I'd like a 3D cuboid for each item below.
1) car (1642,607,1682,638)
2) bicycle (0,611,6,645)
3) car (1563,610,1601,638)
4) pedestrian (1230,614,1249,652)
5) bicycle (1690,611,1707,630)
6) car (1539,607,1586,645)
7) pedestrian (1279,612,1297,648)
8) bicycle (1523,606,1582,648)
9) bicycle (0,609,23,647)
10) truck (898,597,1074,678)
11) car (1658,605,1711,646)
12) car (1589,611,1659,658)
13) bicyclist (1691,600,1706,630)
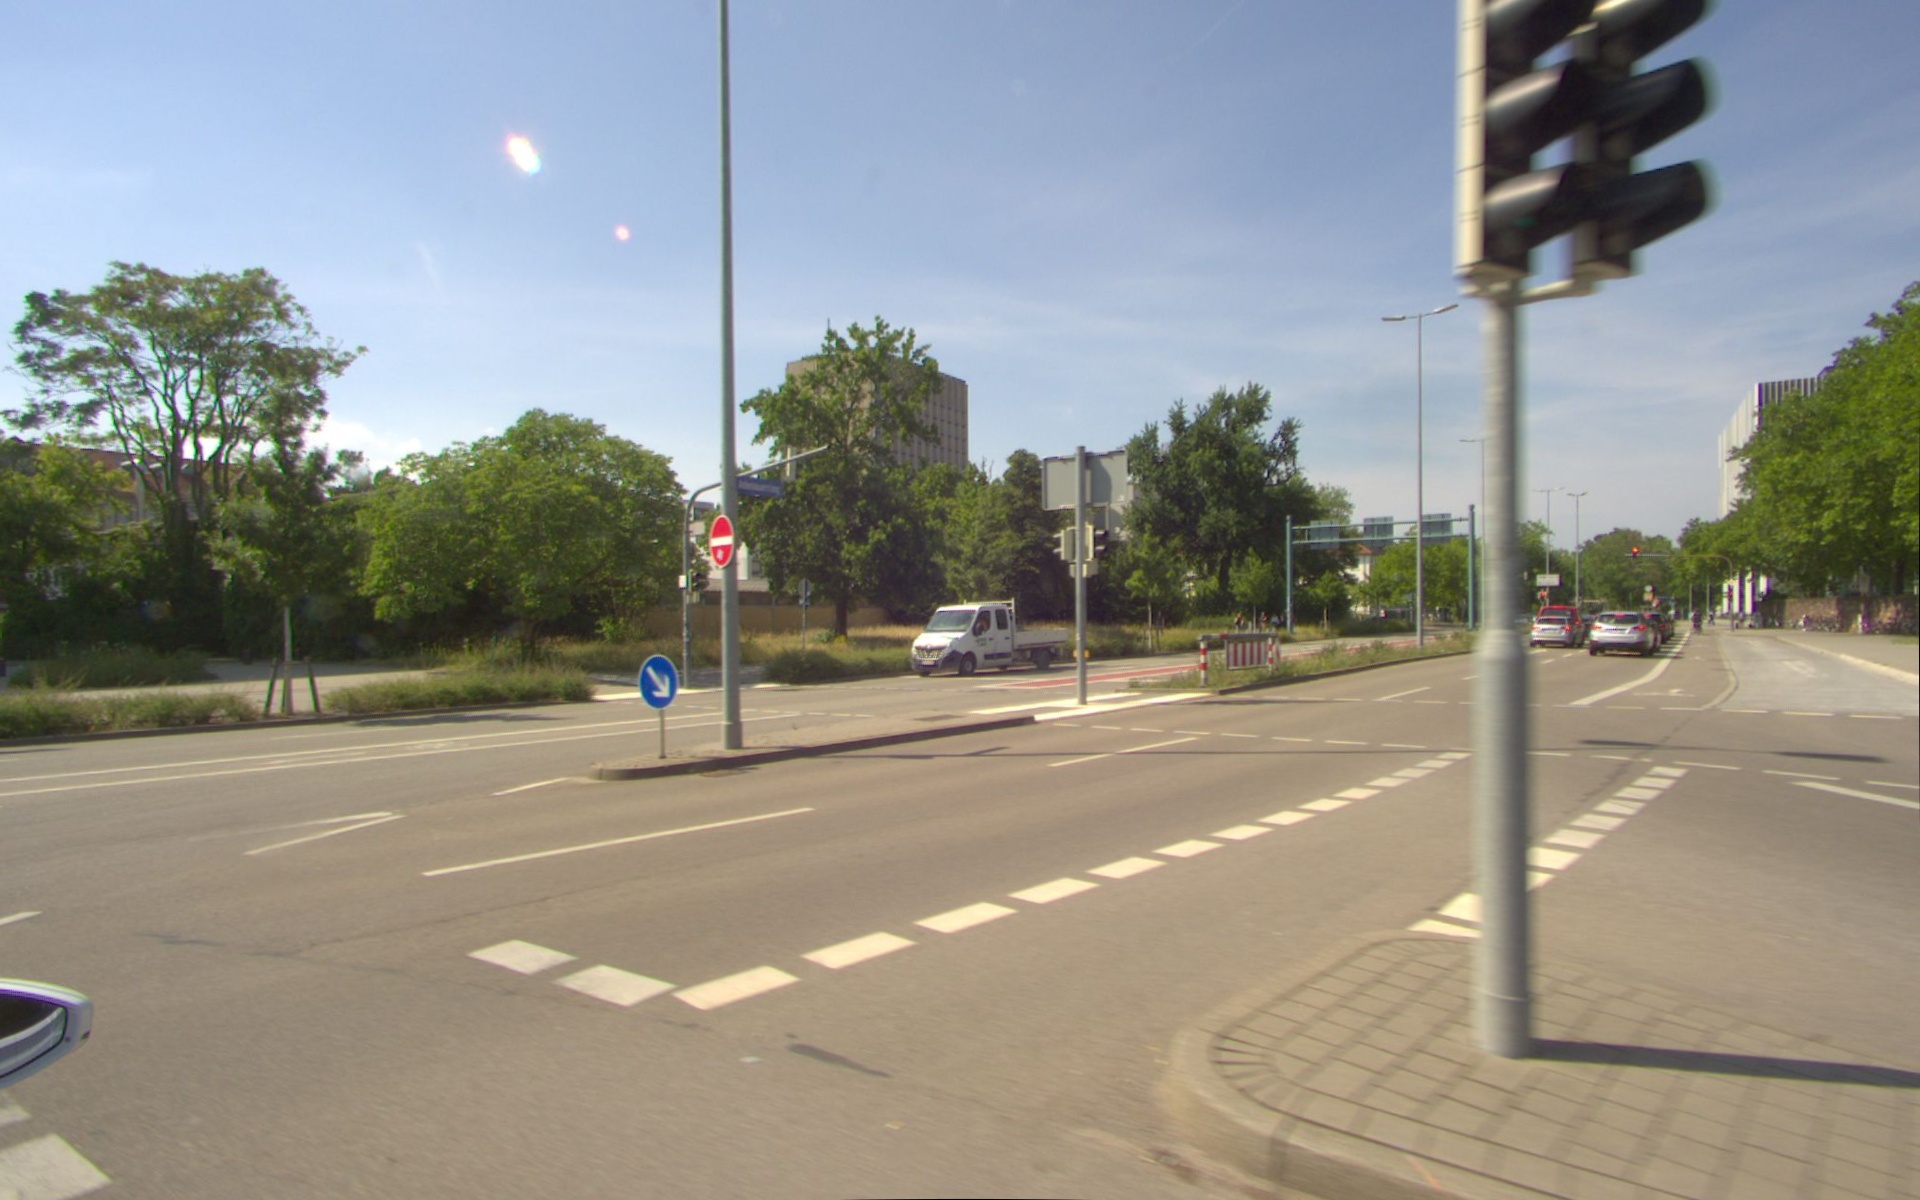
[{"bbox_3d":[47.475,1.504,67.815,1.971,2.040,3.979,-1,-1,32],"label":"car"},{"bbox_3d":[-49.749,1.428,50.078,0.830,1.767,2.816,0,0,33],"label":"bicycle"},{"bbox_3d":[36.849,1.399,59.295,1.776,1.529,3.977,-3,-2,34],"label":"car"},{"bbox_3d":[19.102,2.285,68.435,0.941,2.565,1.118,0,-2,34],"label":"pedestrian"},{"bbox_3d":[52.665,1.503,71.390,0.838,1.233,3.462,-1,-3,39],"label":"bicycle"},{"bbox_3d":[30.475,1.284,50.574,1.951,1.821,4.586,0,0,33],"label":"car"},{"bbox_3d":[23.937,2.205,73.045,0.941,2.565,1.118,0,-2,34],"label":"pedestrian"},{"bbox_3d":[26.935,1.196,45.476,1.974,1.839,3.975,-1,-1,35],"label":"bicycle"},{"bbox_3d":[-47.832,1.392,48.937,0.830,1.860,2.816,0,0,33],"label":"bicycle"},{"bbox_3d":[1.050,1.154,33.210,2.381,2.386,7.006,-2,-1,34],"label":"truck"},{"bbox_3d":[38.333,1.303,53.058,1.971,2.040,3.979,0,0,32],"label":"car"},{"bbox_3d":[24.950,1.258,37.571,1.692,1.639,4.183,0,0,41],"label":"car"},{"bbox_3d":[52.733,1.087,71.501,0.769,2.039,1.265,-1,-3,40],"label":"bicyclist"}]
